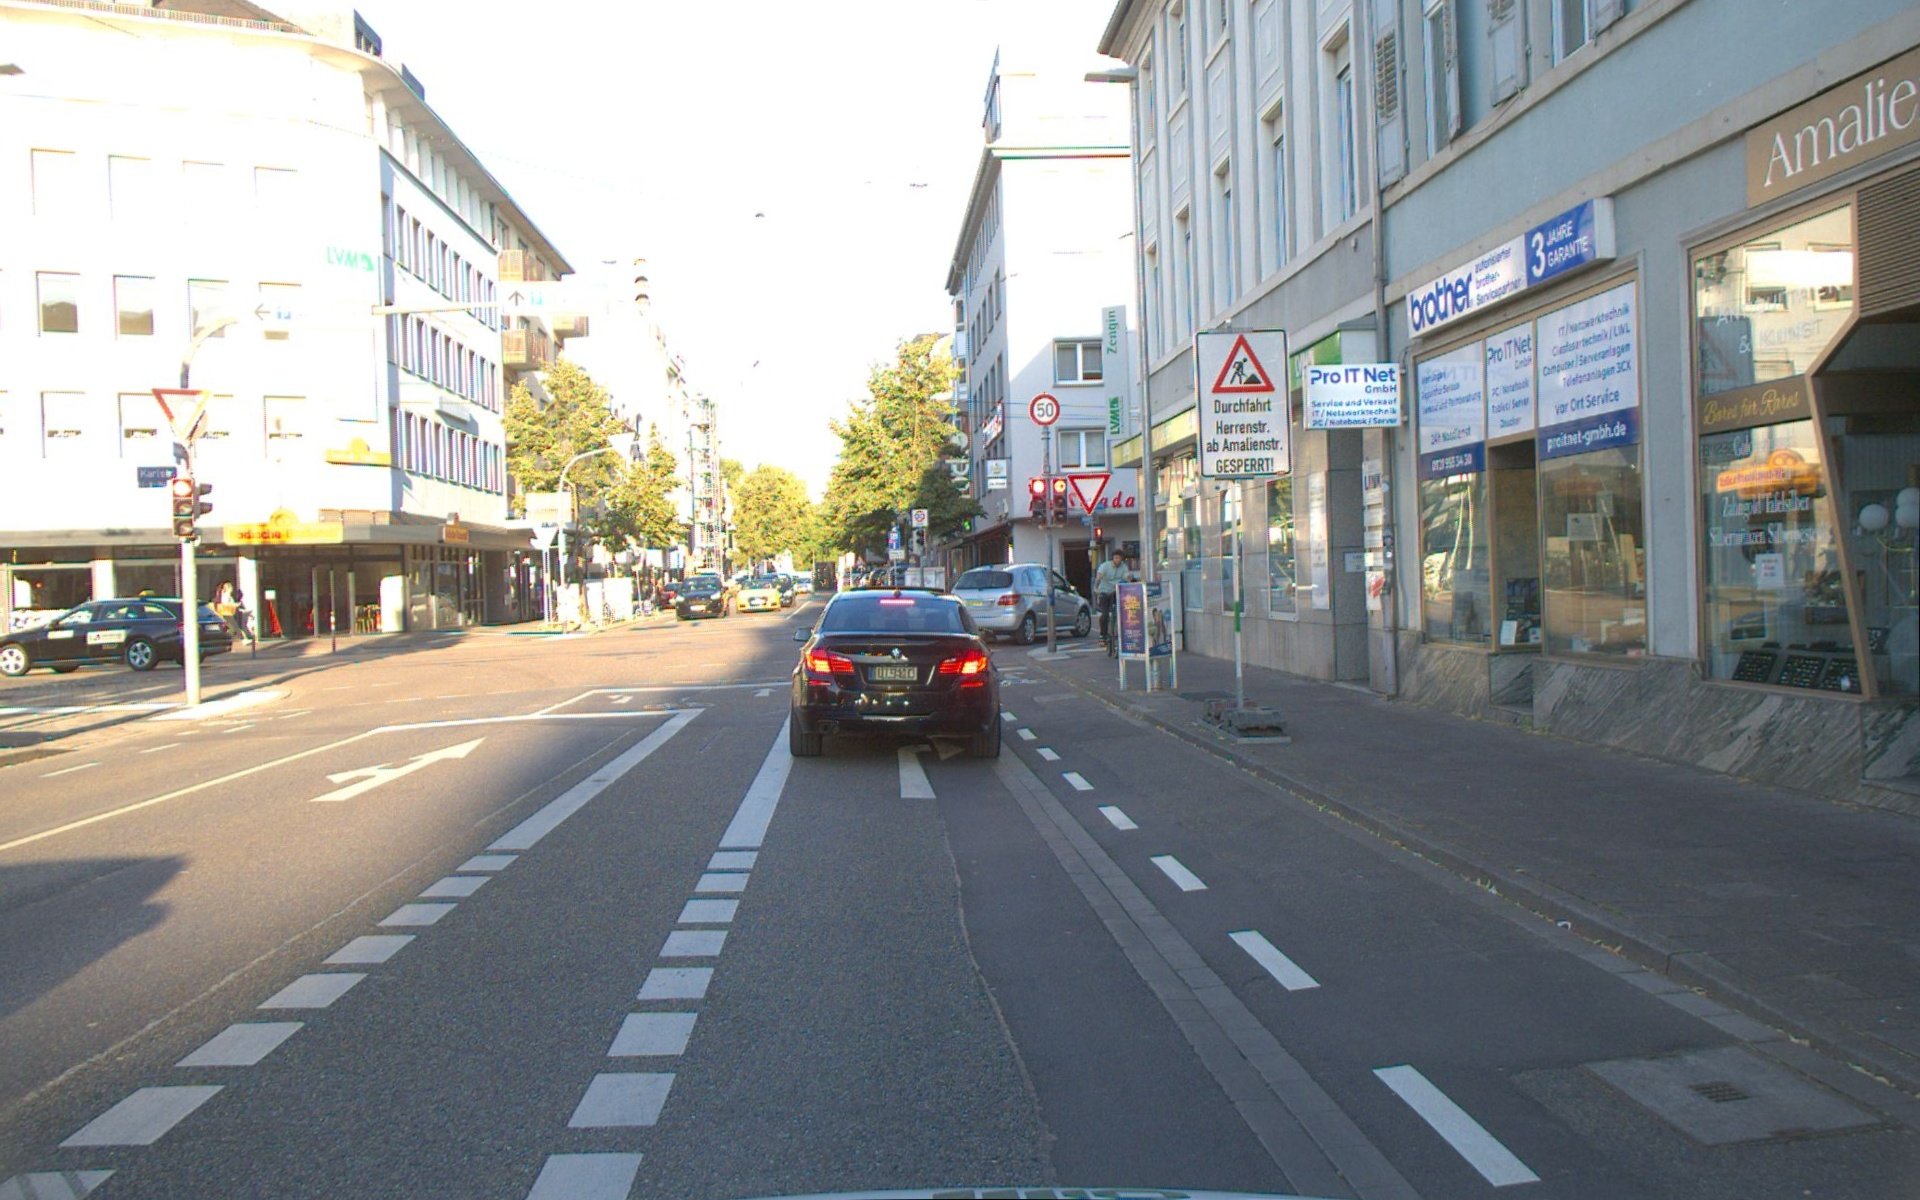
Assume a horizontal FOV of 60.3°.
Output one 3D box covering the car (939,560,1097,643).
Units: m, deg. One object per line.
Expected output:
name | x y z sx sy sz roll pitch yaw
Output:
car | 1.286 0.000 34.940 1.797 1.603 4.097 -1 1 26

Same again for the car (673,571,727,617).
car | -10.100 -0.259 64.283 1.957 1.646 3.992 -2 1 -9

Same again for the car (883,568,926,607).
car | -2.275 -0.507 67.035 1.593 1.497 3.392 -1 0 -4

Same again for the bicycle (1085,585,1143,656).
bicycle | 2.577 0.323 27.836 0.676 1.126 1.895 -2 1 -3

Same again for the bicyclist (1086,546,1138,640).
bicyclist | 2.551 -0.129 27.833 0.707 1.534 0.899 -2 1 -2

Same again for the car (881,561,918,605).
car | -2.719 -0.769 73.417 1.394 1.887 3.048 -1 0 -7

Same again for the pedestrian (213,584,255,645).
pedestrian | -19.324 0.380 44.001 0.935 1.564 0.900 -2 1 -28

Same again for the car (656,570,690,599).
car | -15.748 -0.841 90.868 1.702 1.487 3.992 -2 1 -9

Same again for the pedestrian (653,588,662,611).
pedestrian | -19.340 -0.056 105.803 0.435 1.441 0.525 -2 0 -6

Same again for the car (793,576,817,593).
car | -12.729 -1.296 135.712 1.702 1.315 3.992 -2 1 -9

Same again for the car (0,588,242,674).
car | -17.613 0.637 34.609 4.340 1.623 1.880 -1 1 7

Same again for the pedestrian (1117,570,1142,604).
pedestrian | 6.060 -0.474 59.089 0.684 1.177 0.843 -2 1 -5

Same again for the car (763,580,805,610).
car | -8.189 -0.241 76.631 1.702 1.315 3.992 -2 1 -9

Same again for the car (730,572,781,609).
car | -8.660 -0.407 69.826 1.957 1.467 3.992 -2 1 -9

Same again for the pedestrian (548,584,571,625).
pedestrian | -17.252 0.184 71.255 0.807 1.705 0.871 -2 1 -5

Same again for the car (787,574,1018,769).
car | -0.644 0.557 15.756 1.866 1.567 4.446 1 1 -5
